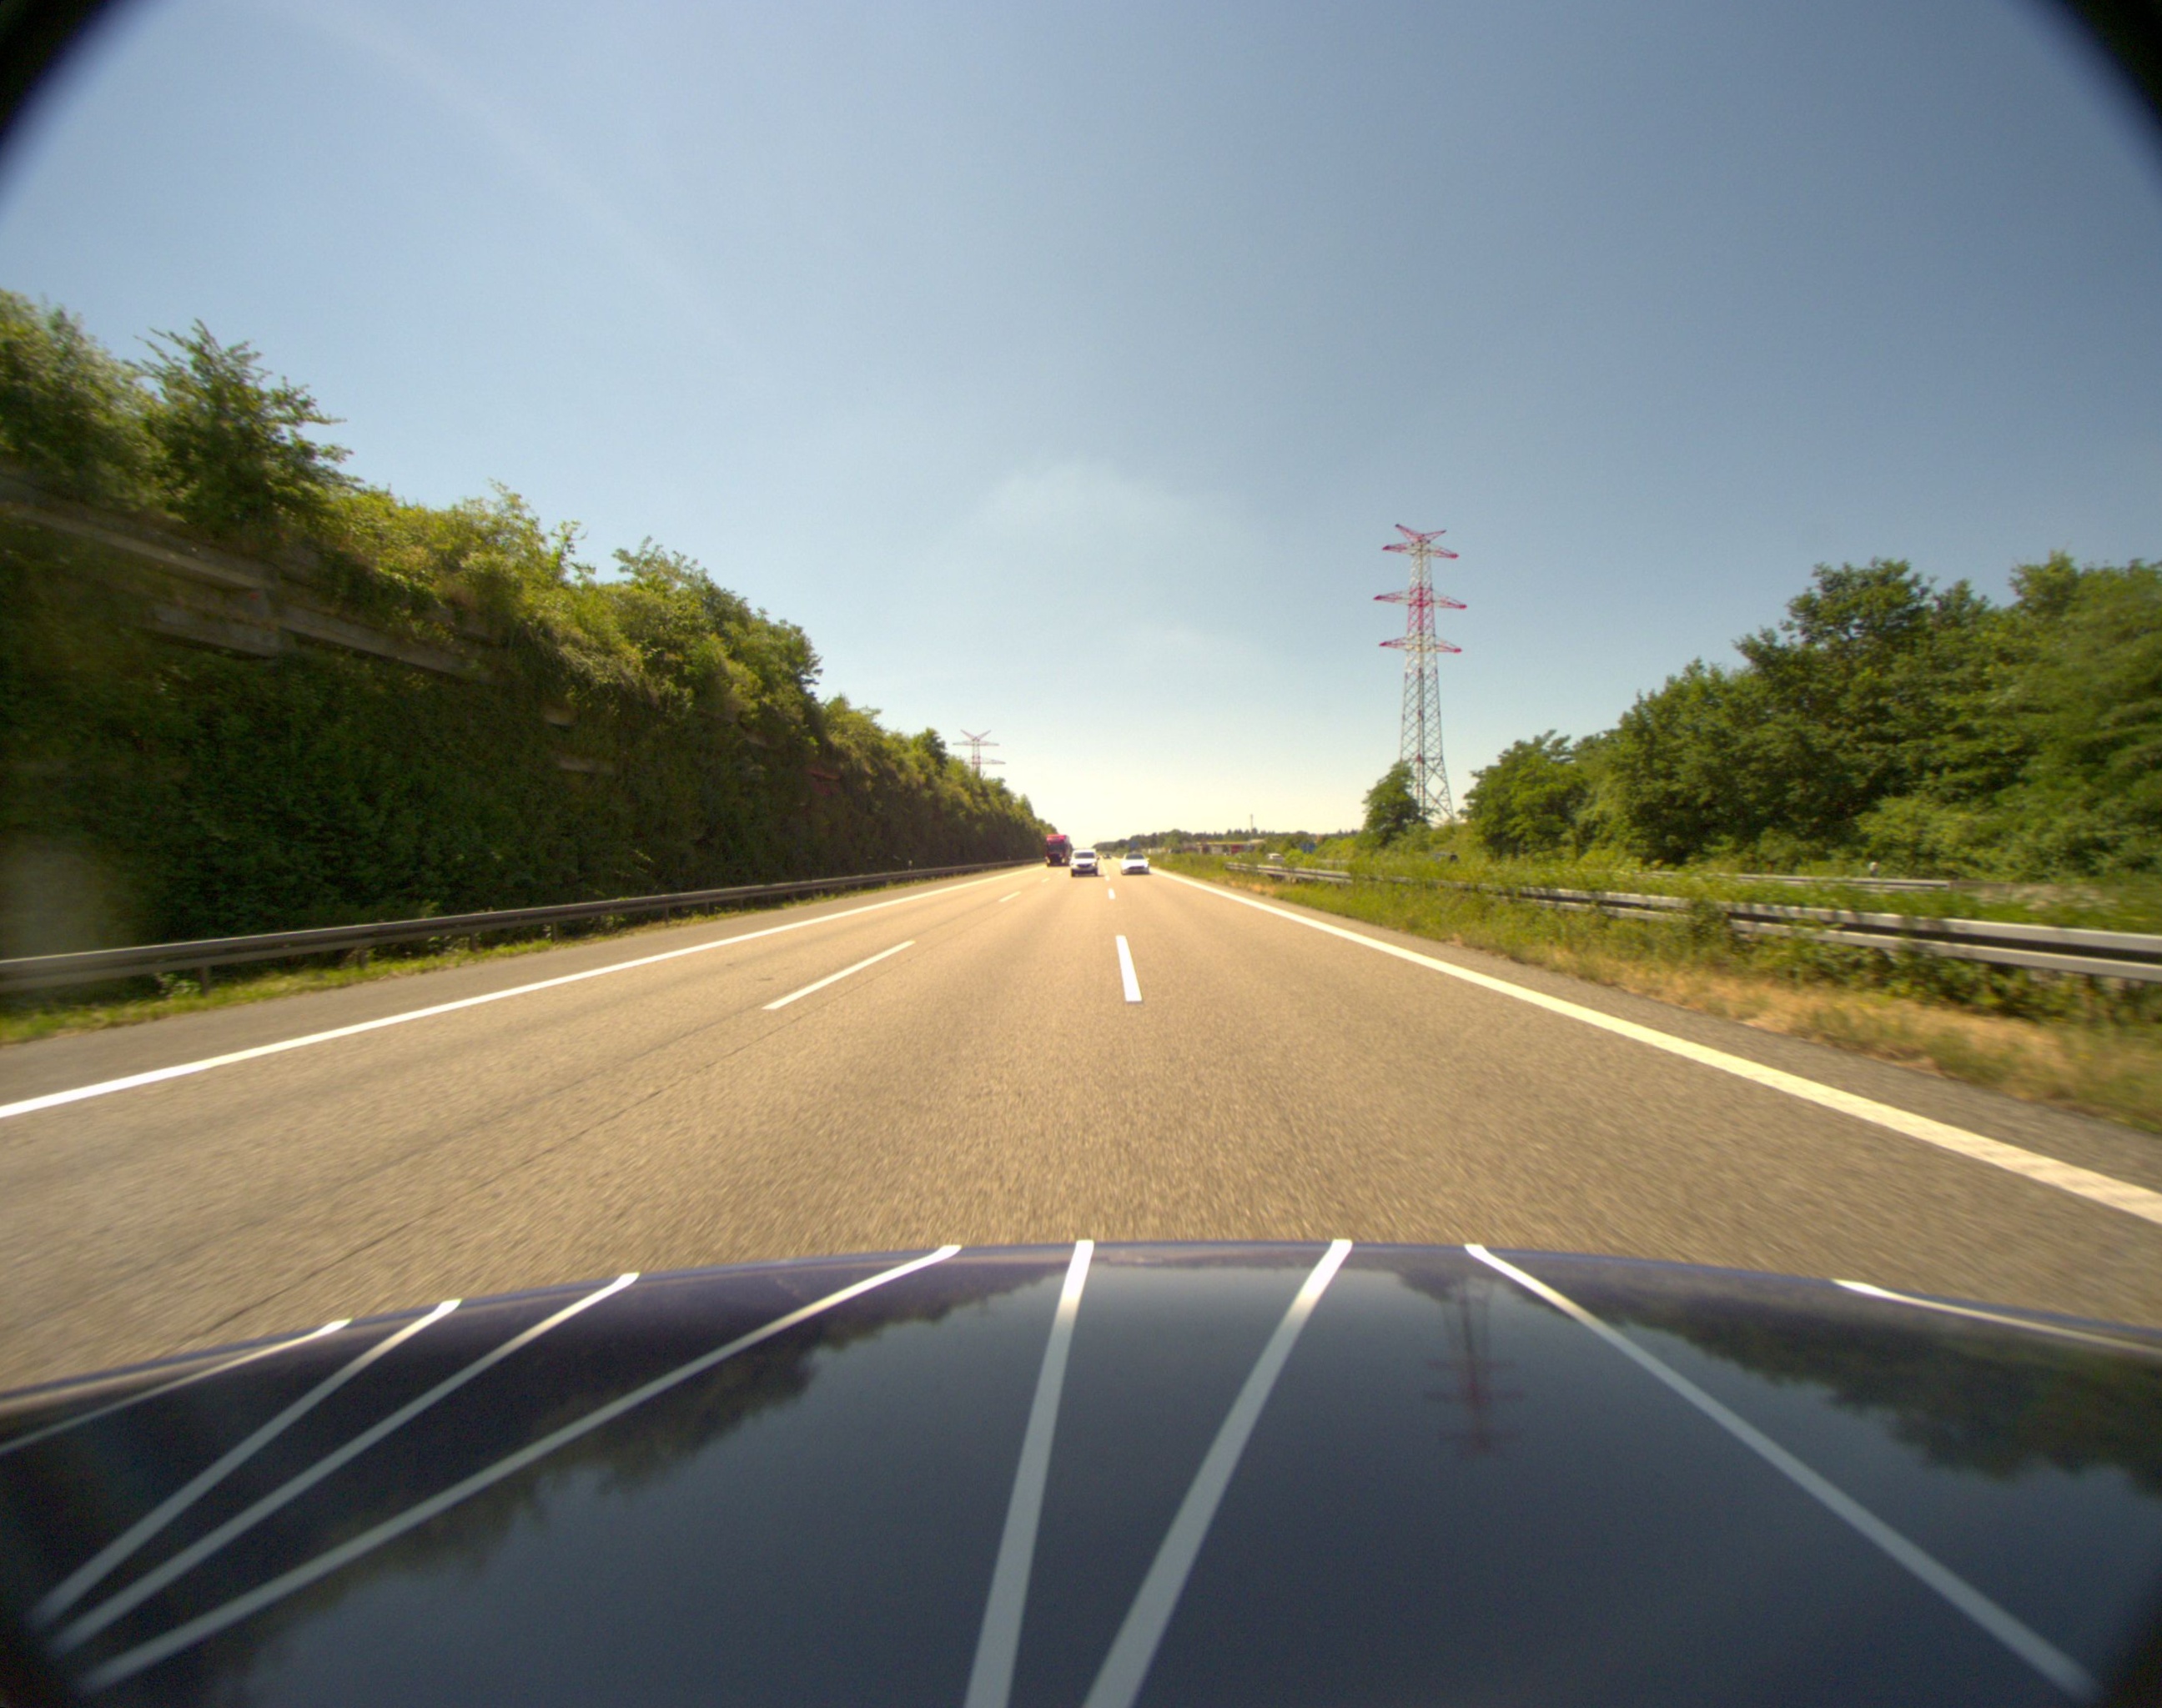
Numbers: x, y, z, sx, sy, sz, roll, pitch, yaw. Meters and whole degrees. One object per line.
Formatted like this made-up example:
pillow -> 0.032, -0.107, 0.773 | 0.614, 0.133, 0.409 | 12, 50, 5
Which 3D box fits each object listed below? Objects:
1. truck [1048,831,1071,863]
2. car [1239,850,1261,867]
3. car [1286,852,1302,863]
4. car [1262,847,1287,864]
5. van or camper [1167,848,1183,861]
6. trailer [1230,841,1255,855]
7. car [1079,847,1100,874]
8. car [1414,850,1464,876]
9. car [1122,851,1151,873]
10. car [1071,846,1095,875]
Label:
truck -> -2.686, -0.884, 96.111 | 2.505, 3.897, 7.096 | -2, 0, 1
car -> 18.693, 0.483, 84.218 | 1.704, 1.758, 4.235 | -3, 0, 3
car -> 32.033, 0.558, 114.413 | 1.377, 1.604, 3.364 | -3, 0, 1
car -> 22.746, 0.194, 89.457 | 1.808, 1.826, 4.257 | -3, 0, 1
van or camper -> 14.527, 0.050, 117.938 | 1.849, 1.802, 4.874 | -3, 0, 1
trailer -> 49.295, -1.914, 231.293 | 3.123, 4.032, 11.334 | -2, 0, 35
car -> 0.620, 0.461, 54.557 | 1.413, 1.795, 3.200 | -3, 0, 0
car -> 26.167, 0.625, 55.666 | 1.704, 1.758, 4.403 | -3, 0, 3
car -> 3.751, 0.523, 51.809 | 1.775, 1.410, 3.401 | -3, 0, 1
car -> 0.154, 0.405, 51.100 | 1.501, 1.799, 3.394 | -3, 0, 0
